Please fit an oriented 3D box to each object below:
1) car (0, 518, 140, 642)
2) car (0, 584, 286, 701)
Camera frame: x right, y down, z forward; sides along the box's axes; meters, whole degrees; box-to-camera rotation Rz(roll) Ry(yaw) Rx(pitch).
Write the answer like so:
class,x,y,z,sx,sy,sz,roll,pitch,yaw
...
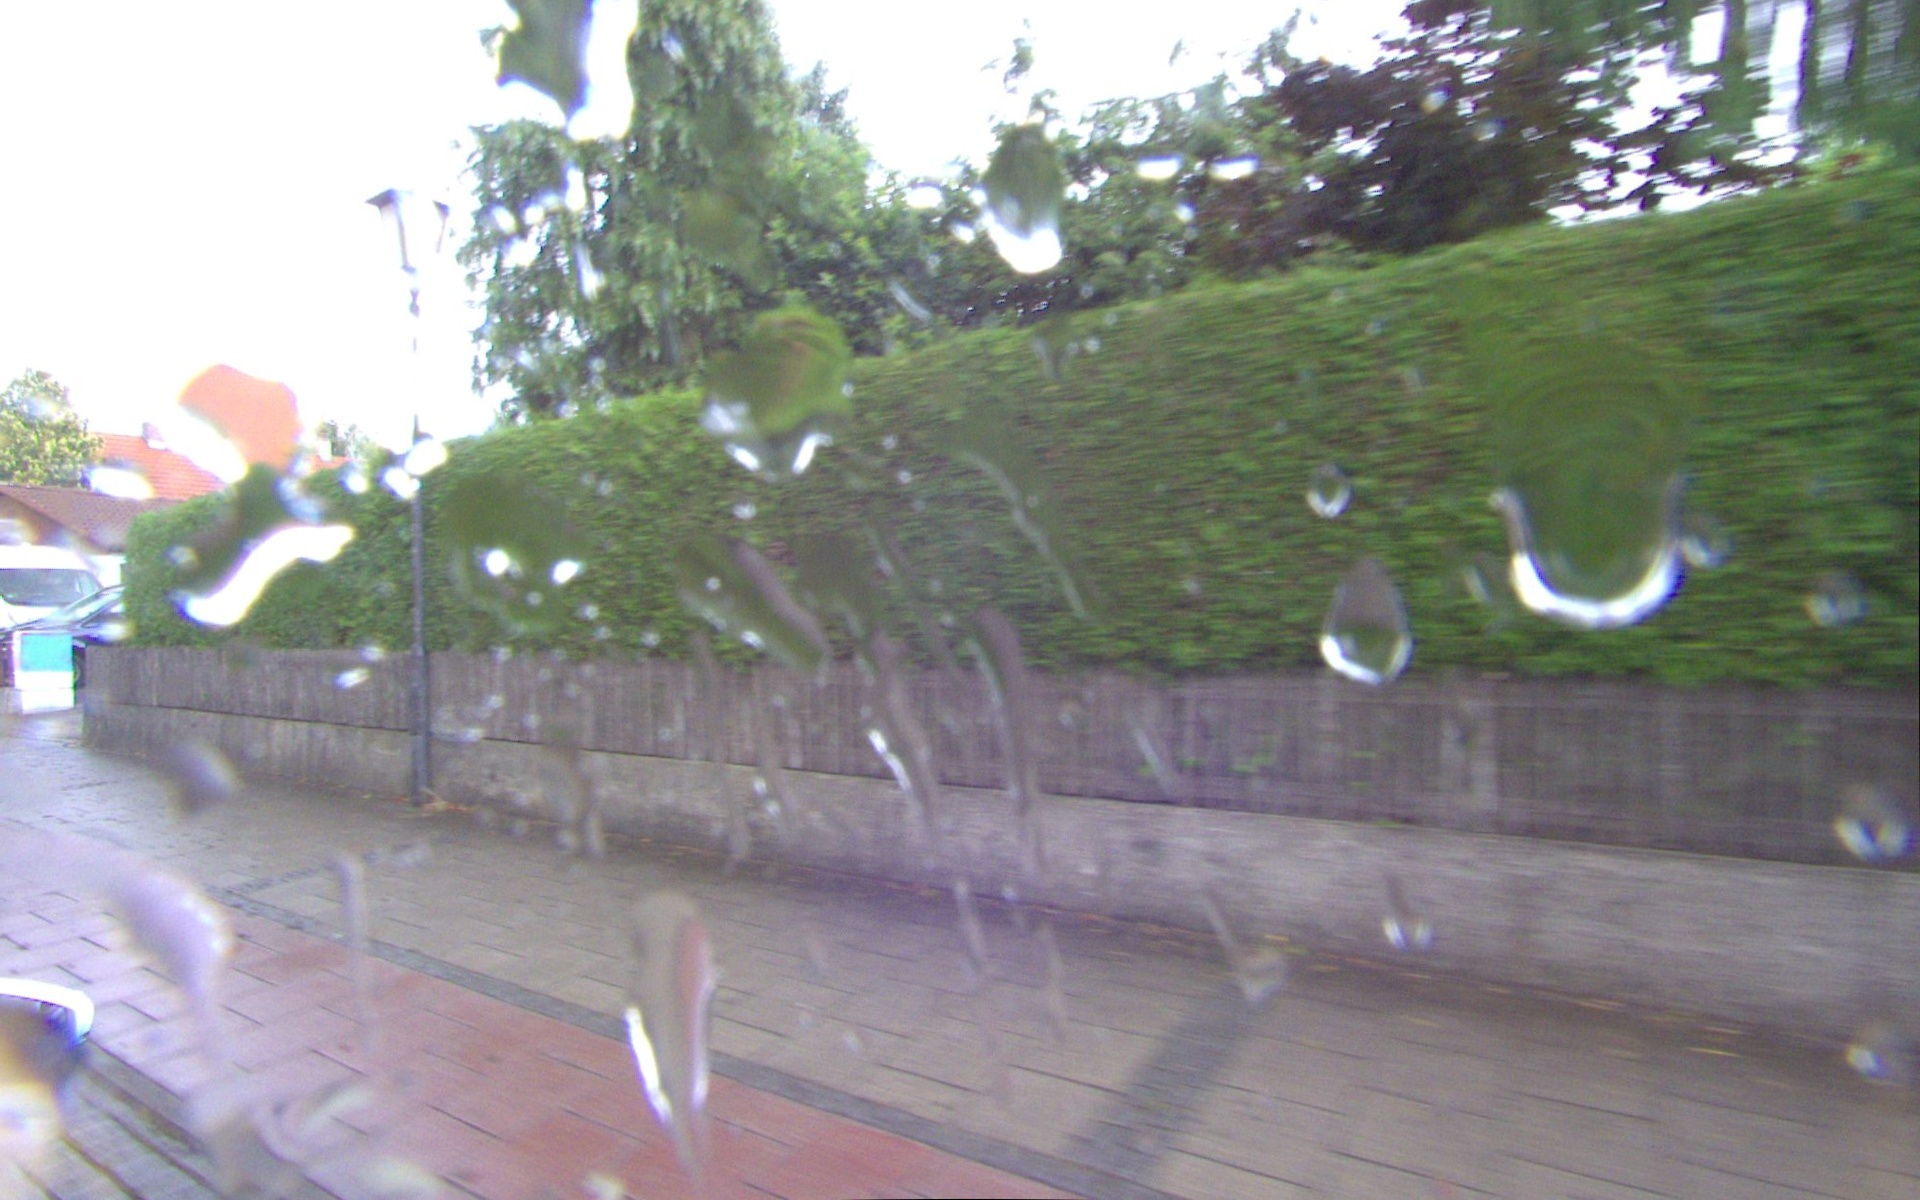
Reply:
class,x,y,z,sx,sy,sz,roll,pitch,yaw
car,-18.873,-0.283,19.721,4.866,2.201,1.997,-1,-2,20
car,-14.396,0.641,17.473,1.668,1.775,4.088,2,1,29
